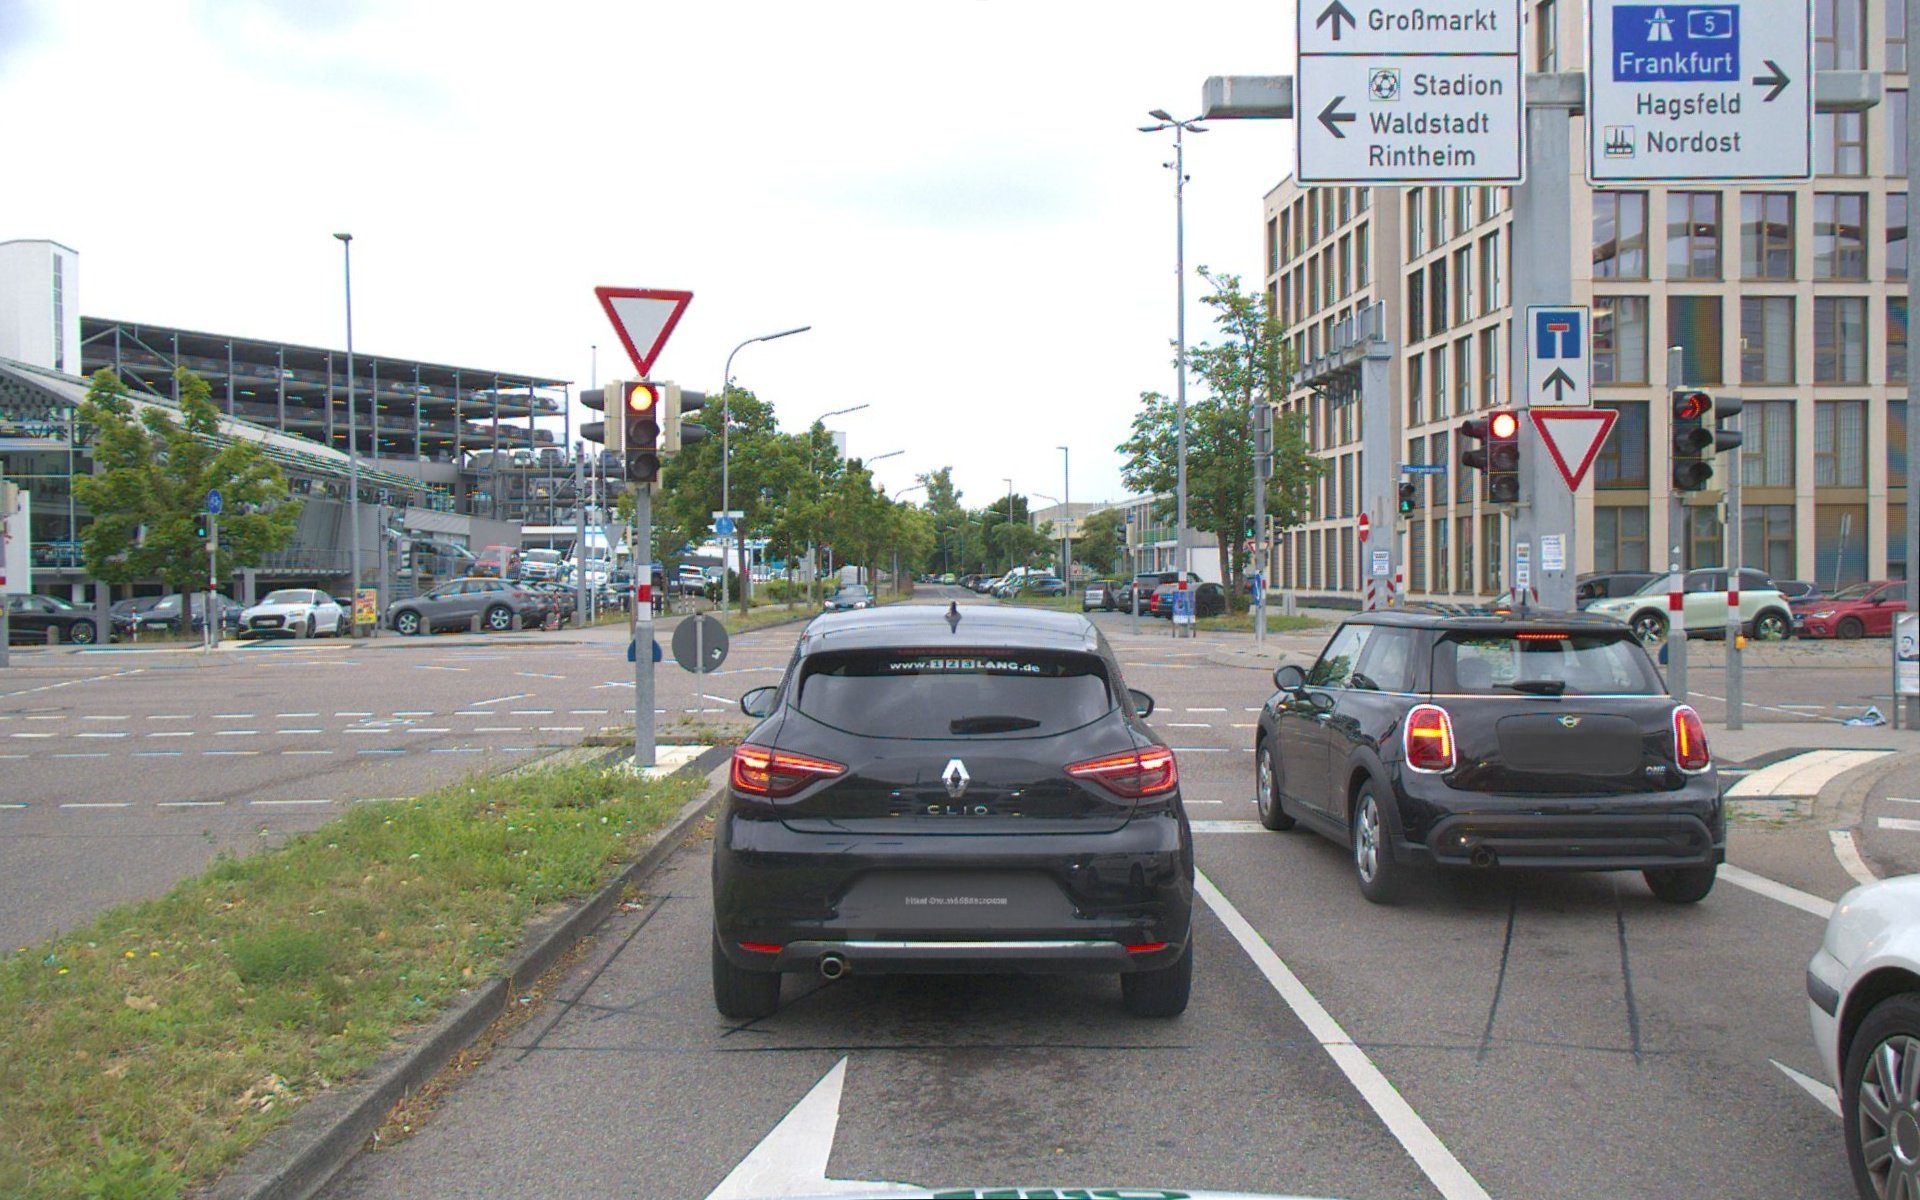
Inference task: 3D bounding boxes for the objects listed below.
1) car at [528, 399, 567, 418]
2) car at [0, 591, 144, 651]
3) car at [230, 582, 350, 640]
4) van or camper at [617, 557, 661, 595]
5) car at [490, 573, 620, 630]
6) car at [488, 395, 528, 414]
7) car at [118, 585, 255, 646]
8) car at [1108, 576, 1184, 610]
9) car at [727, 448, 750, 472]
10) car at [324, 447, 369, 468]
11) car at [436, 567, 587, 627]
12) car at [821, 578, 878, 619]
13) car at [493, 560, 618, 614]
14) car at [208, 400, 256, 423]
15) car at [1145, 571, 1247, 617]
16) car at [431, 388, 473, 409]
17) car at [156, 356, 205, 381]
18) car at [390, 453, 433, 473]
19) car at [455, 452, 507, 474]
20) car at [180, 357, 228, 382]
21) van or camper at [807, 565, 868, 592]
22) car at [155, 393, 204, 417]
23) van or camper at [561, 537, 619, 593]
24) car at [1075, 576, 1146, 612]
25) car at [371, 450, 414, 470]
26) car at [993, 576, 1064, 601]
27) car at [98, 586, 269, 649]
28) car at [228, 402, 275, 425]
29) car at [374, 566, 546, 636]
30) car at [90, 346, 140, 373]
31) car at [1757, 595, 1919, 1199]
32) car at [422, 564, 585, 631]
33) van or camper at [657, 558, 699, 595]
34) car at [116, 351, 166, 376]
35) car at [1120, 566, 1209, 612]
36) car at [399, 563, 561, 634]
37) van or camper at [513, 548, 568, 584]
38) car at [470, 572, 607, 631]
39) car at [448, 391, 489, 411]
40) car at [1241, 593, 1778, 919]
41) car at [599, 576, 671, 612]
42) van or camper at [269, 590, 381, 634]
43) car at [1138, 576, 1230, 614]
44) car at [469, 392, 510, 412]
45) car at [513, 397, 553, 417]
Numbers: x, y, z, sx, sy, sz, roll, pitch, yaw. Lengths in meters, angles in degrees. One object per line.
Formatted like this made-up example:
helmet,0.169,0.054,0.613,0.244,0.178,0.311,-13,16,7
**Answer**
car,-45.227,-20.931,181.176,3.914,1.696,1.996,1,1,31
car,-25.319,0.597,45.608,4.646,1.512,1.891,-1,-2,-4
car,-18.591,0.339,46.089,1.832,1.512,4.226,-1,-1,-4
van or camper,-18.286,-1.351,94.397,1.954,2.049,3.996,1,0,-4
car,-16.355,0.054,66.953,4.798,2.049,1.998,-2,0,-6
car,-48.086,-20.783,175.835,3.914,1.696,1.996,1,1,31
car,-21.342,0.469,45.857,2.023,1.512,4.510,-2,-2,-6
car,8.779,-0.321,77.771,1.667,1.537,3.794,-1,0,42
car,-21.186,-13.374,158.554,1.955,1.915,3.996,-1,0,-5
car,-58.489,-13.602,157.686,3.914,1.696,1.996,1,1,31
car,-15.930,-0.095,58.931,4.853,1.909,2.051,-2,0,-7
car,-4.428,-0.073,66.785,1.938,1.578,4.614,0,1,0
car,-17.000,-0.524,69.744,4.798,2.049,1.998,-2,0,-6
car,-64.528,-16.721,146.582,3.914,1.696,1.996,1,1,31
car,9.567,-0.237,66.791,4.096,1.799,1.861,0,0,-41
car,-52.033,-20.634,169.482,3.914,1.696,1.996,1,1,31
car,-67.152,-19.949,142.451,3.914,1.696,1.996,1,1,31
car,-54.661,-13.665,164.829,3.914,1.696,1.996,1,1,31
car,-50.517,-14.416,174.380,5.212,1.979,2.208,1,1,28
car,-66.142,-20.140,144.647,3.914,1.696,1.996,1,1,31
van or camper,-11.219,-1.956,152.085,5.486,2.413,1.999,1,0,-2
car,-67.172,-16.784,142.355,3.914,1.696,1.996,1,1,31
van or camper,-21.073,-1.954,94.365,2.486,3.079,4.839,1,0,-4
car,7.668,-0.300,84.066,3.405,1.762,1.739,1,-1,-43
car,-55.731,-13.770,162.380,3.914,1.696,1.996,1,1,31
car,5.095,-0.849,123.769,5.070,1.750,2.142,1,0,-3
car,-25.796,0.554,55.071,4.706,1.973,1.999,-1,1,-4
car,-63.567,-16.699,148.435,3.914,1.696,1.996,1,1,31
car,-15.275,0.036,50.735,4.680,1.895,1.998,-2,0,-6
car,-70.373,-20.026,137.748,3.914,1.696,1.996,1,1,31
car,3.060,0.751,2.431,1.795,1.504,4.004,1,0,-1
car,-15.478,-0.086,56.309,4.925,2.049,2.263,-2,0,-5
van or camper,-16.133,-1.312,94.621,1.954,2.049,3.996,1,0,-4
car,-69.296,-19.997,139.940,3.914,1.696,1.996,1,1,31
car,9.212,-0.493,74.375,1.963,2.000,4.221,-1,0,41
car,-15.414,-0.036,53.302,4.610,2.049,1.998,-2,0,-5
van or camper,-21.026,-1.698,83.005,1.954,1.680,3.996,1,0,-4
car,-16.315,0.074,64.234,4.798,2.049,1.998,-2,0,-6
car,-50.919,-20.623,171.477,3.914,1.696,1.996,1,1,31
car,2.790,0.712,9.276,1.749,1.440,3.642,1,0,-1
car,-19.364,-0.355,98.615,3.908,2.049,1.999,1,0,-4
van or camper,-26.399,0.479,68.851,3.909,1.741,1.845,1,0,-5
car,9.669,-0.208,71.180,1.857,1.578,4.105,-1,0,44
car,-49.440,-20.819,173.706,3.914,1.696,1.996,1,1,31
car,-46.294,-20.909,179.216,3.914,1.696,1.996,1,1,31
